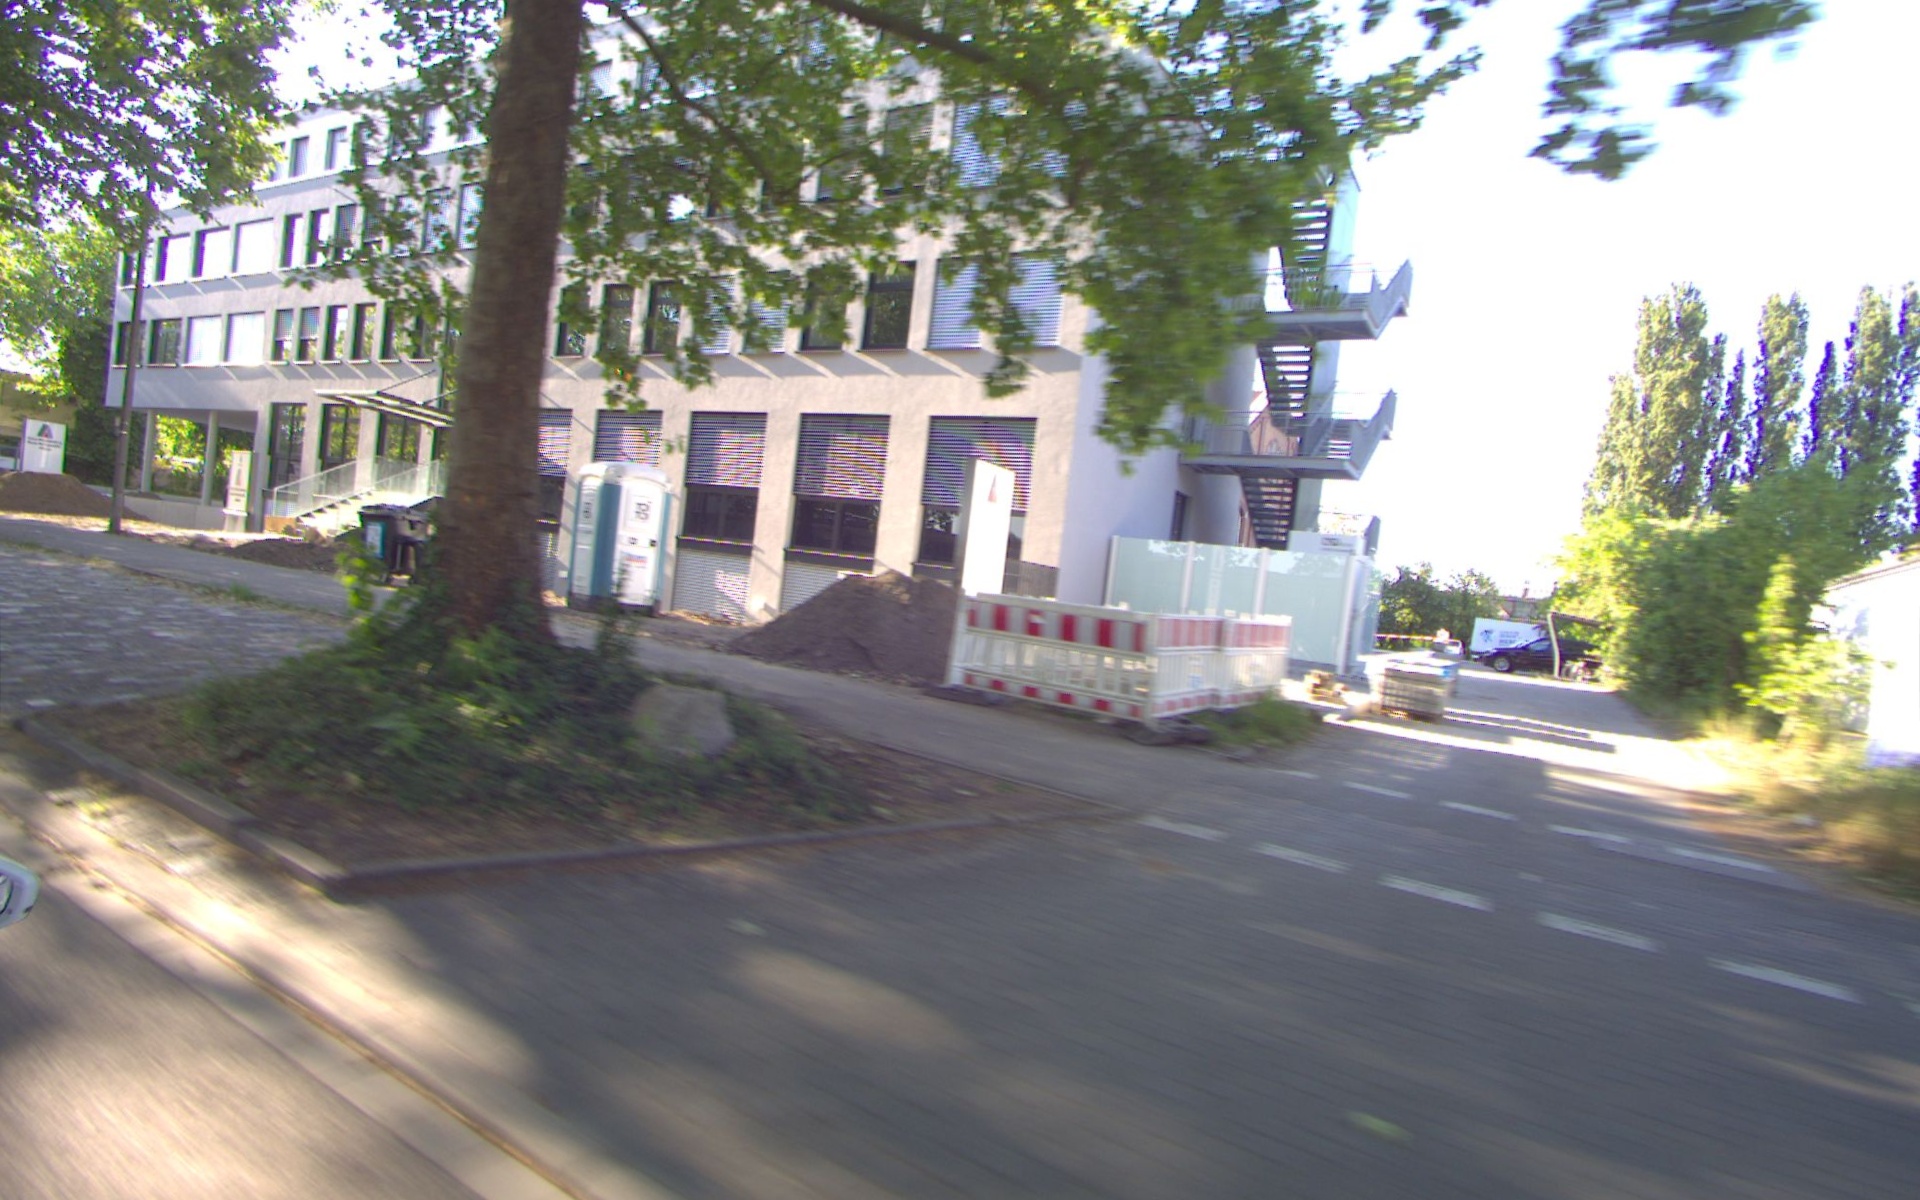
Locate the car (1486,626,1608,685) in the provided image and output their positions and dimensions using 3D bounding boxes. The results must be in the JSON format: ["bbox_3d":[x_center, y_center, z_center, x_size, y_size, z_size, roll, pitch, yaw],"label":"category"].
[{"bbox_3d":[23.519,2.233,40.429,3.932,1.770,1.997,8,0,31],"label":"car"}]

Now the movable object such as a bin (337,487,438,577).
[{"bbox_3d":[-10.129,-1.211,17.787,1.594,1.367,0.749,8,0,32],"label":"movable object such as a bin"}]

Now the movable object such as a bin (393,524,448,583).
[{"bbox_3d":[-9.197,-0.789,17.156,0.589,0.911,0.493,8,0,31],"label":"movable object such as a bin"}]

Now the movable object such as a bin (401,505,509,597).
[{"bbox_3d":[-8.278,-0.811,16.481,1.584,1.279,0.749,8,0,32],"label":"movable object such as a bin"}]
